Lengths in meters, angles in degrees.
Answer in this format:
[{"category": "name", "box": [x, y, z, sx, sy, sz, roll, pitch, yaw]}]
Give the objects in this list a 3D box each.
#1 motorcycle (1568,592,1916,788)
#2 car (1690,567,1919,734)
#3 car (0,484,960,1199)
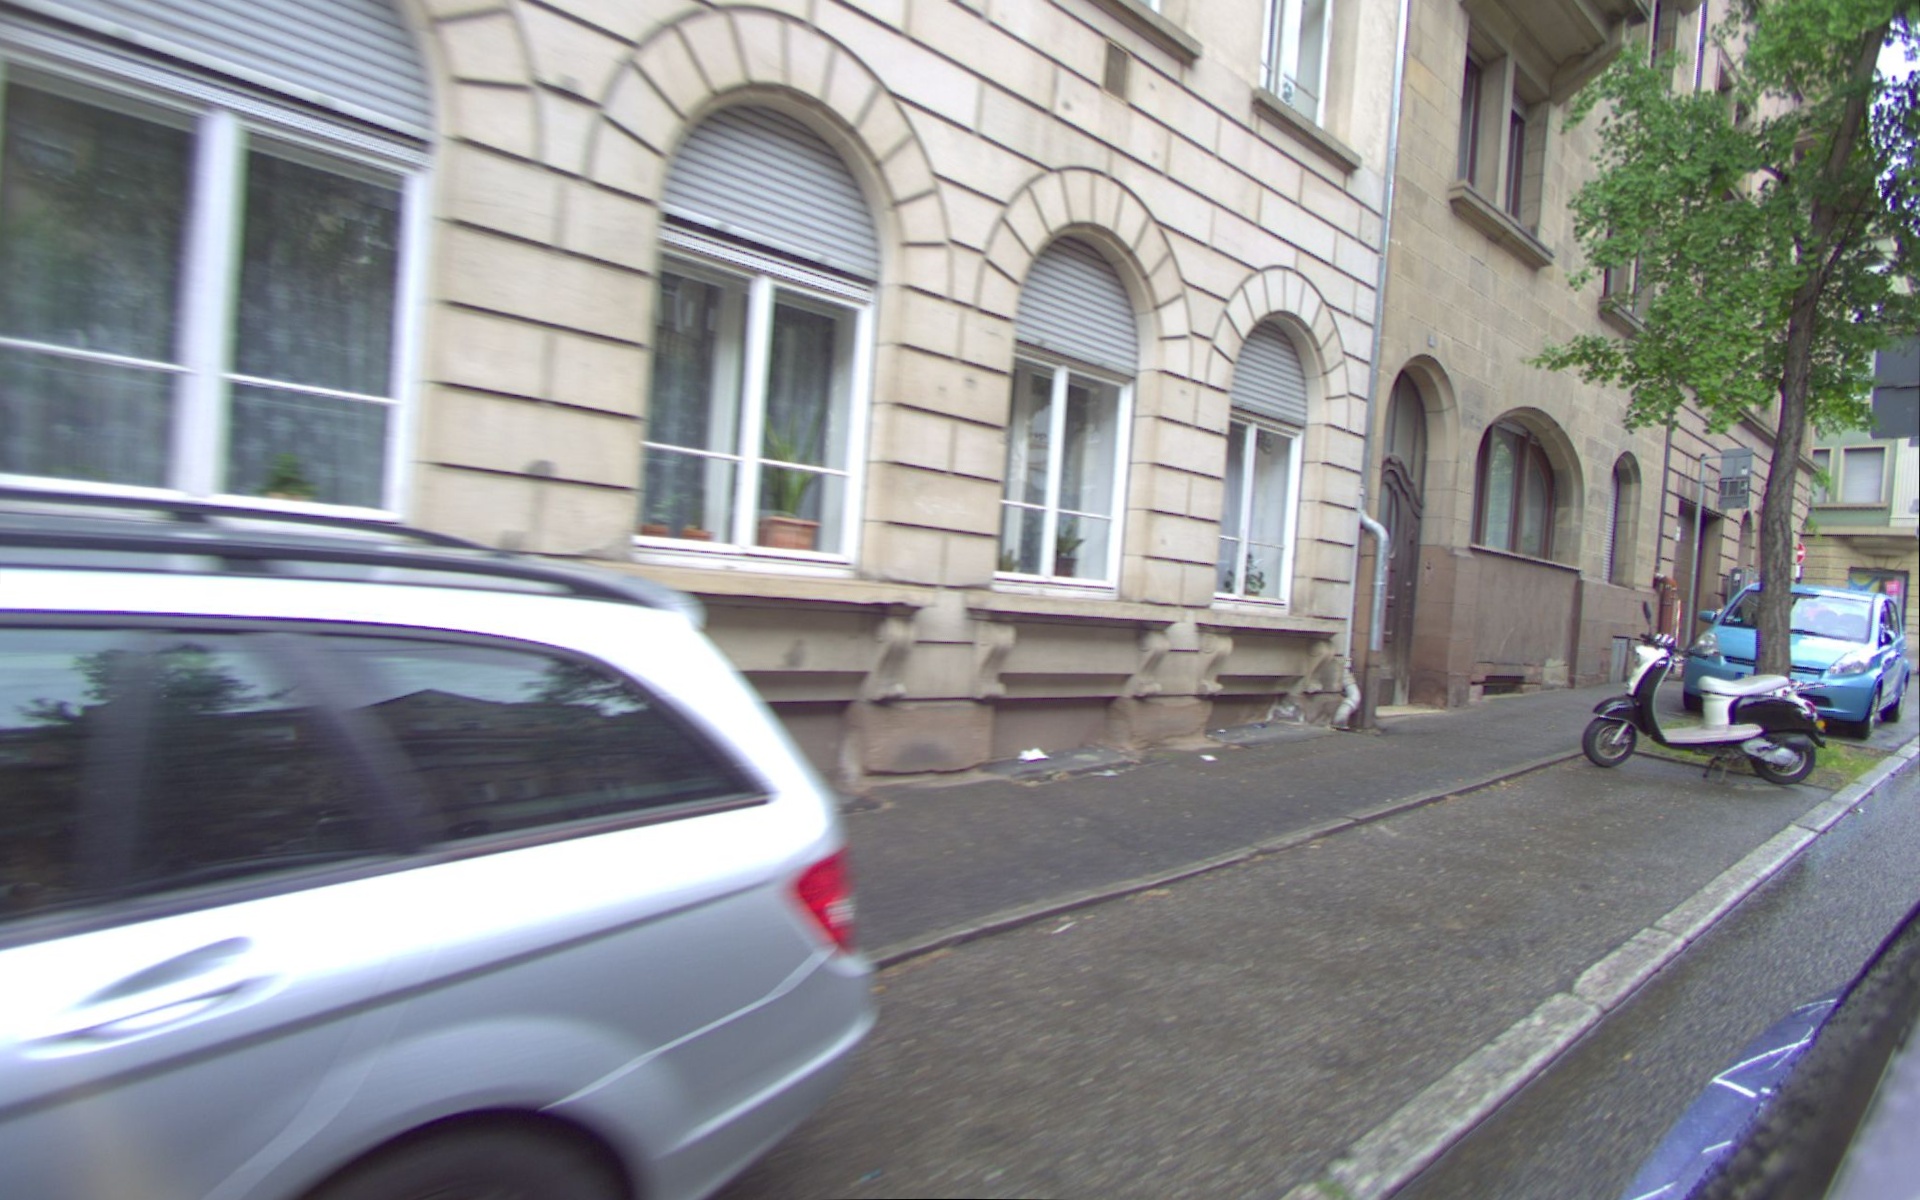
[{"category": "motorcycle", "box": [5.876, 0.635, 7.727, 1.910, 1.250, 0.655, 4, 2, 14]}, {"category": "car", "box": [9.994, 0.464, 11.716, 3.602, 1.561, 1.660, 0, 4, -41]}, {"category": "car", "box": [-2.206, 0.536, 1.215, 4.346, 1.448, 1.699, 0, 5, -42]}]
